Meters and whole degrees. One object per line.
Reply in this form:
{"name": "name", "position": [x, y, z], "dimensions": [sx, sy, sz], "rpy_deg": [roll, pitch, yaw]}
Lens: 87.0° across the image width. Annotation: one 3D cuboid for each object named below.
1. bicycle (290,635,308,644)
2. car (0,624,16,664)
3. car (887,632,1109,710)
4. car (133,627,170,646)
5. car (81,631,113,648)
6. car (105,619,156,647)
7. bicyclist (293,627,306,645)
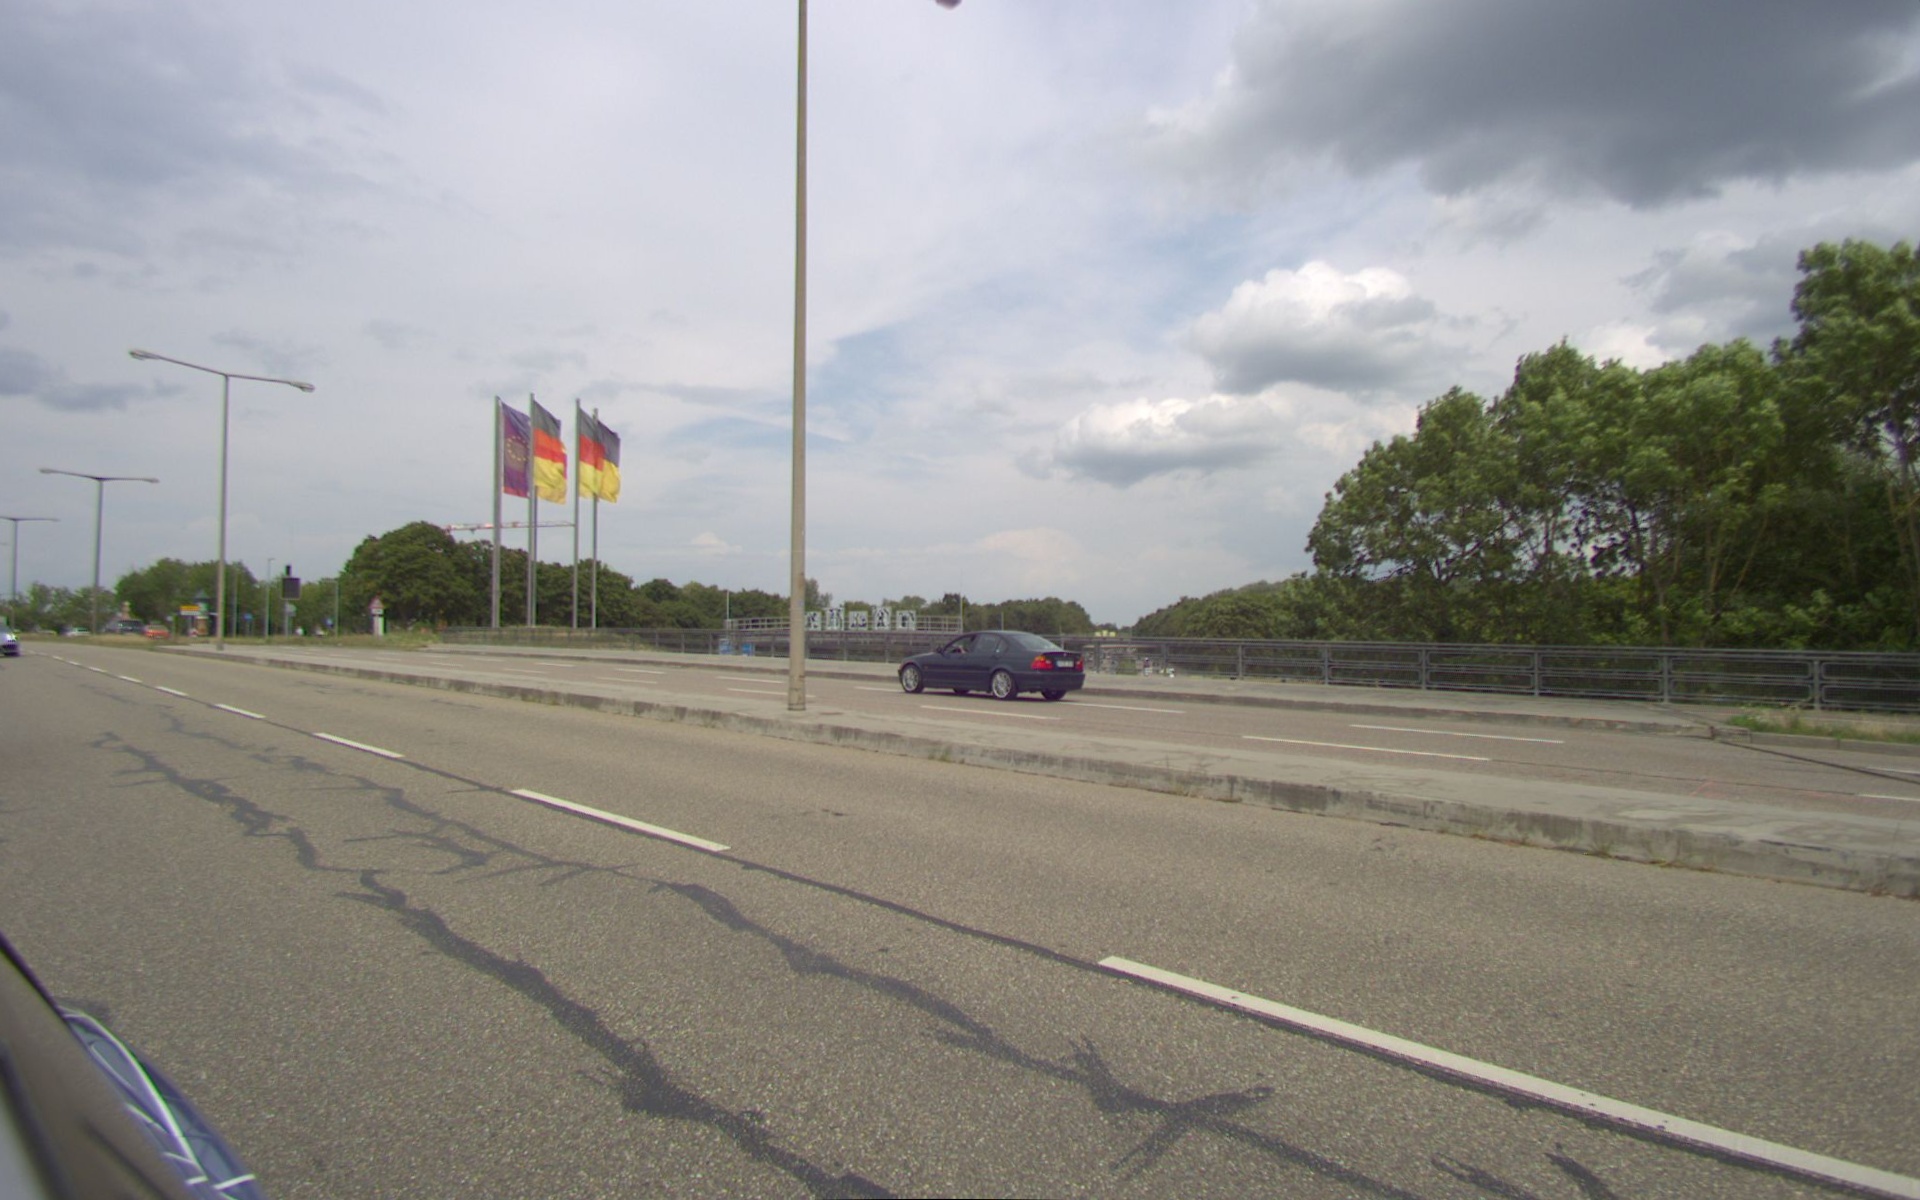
{"name": "bicycle", "position": [-57.665, 3.425, 88.294], "dimensions": [2.222, 0.739, 0.809], "rpy_deg": [-2, -3, 43]}
{"name": "car", "position": [-36.093, 1.644, 37.174], "dimensions": [3.681, 1.422, 1.674], "rpy_deg": [-2, -2, 40]}
{"name": "car", "position": [0.686, 1.420, 21.175], "dimensions": [1.970, 1.384, 4.581], "rpy_deg": [4, -3, -43]}
{"name": "car", "position": [-67.541, 3.047, 84.518], "dimensions": [3.998, 1.505, 1.673], "rpy_deg": [-2, -4, 41]}
{"name": "car", "position": [-81.666, 3.728, 95.781], "dimensions": [3.998, 1.505, 1.673], "rpy_deg": [-2, -4, 41]}
{"name": "car", "position": [-56.388, 2.229, 68.734], "dimensions": [4.661, 1.652, 1.972], "rpy_deg": [-2, 2, 43]}
{"name": "bicyclist", "position": [-57.620, 3.119, 88.280], "dimensions": [0.737, 1.604, 0.809], "rpy_deg": [-2, -3, 43]}
